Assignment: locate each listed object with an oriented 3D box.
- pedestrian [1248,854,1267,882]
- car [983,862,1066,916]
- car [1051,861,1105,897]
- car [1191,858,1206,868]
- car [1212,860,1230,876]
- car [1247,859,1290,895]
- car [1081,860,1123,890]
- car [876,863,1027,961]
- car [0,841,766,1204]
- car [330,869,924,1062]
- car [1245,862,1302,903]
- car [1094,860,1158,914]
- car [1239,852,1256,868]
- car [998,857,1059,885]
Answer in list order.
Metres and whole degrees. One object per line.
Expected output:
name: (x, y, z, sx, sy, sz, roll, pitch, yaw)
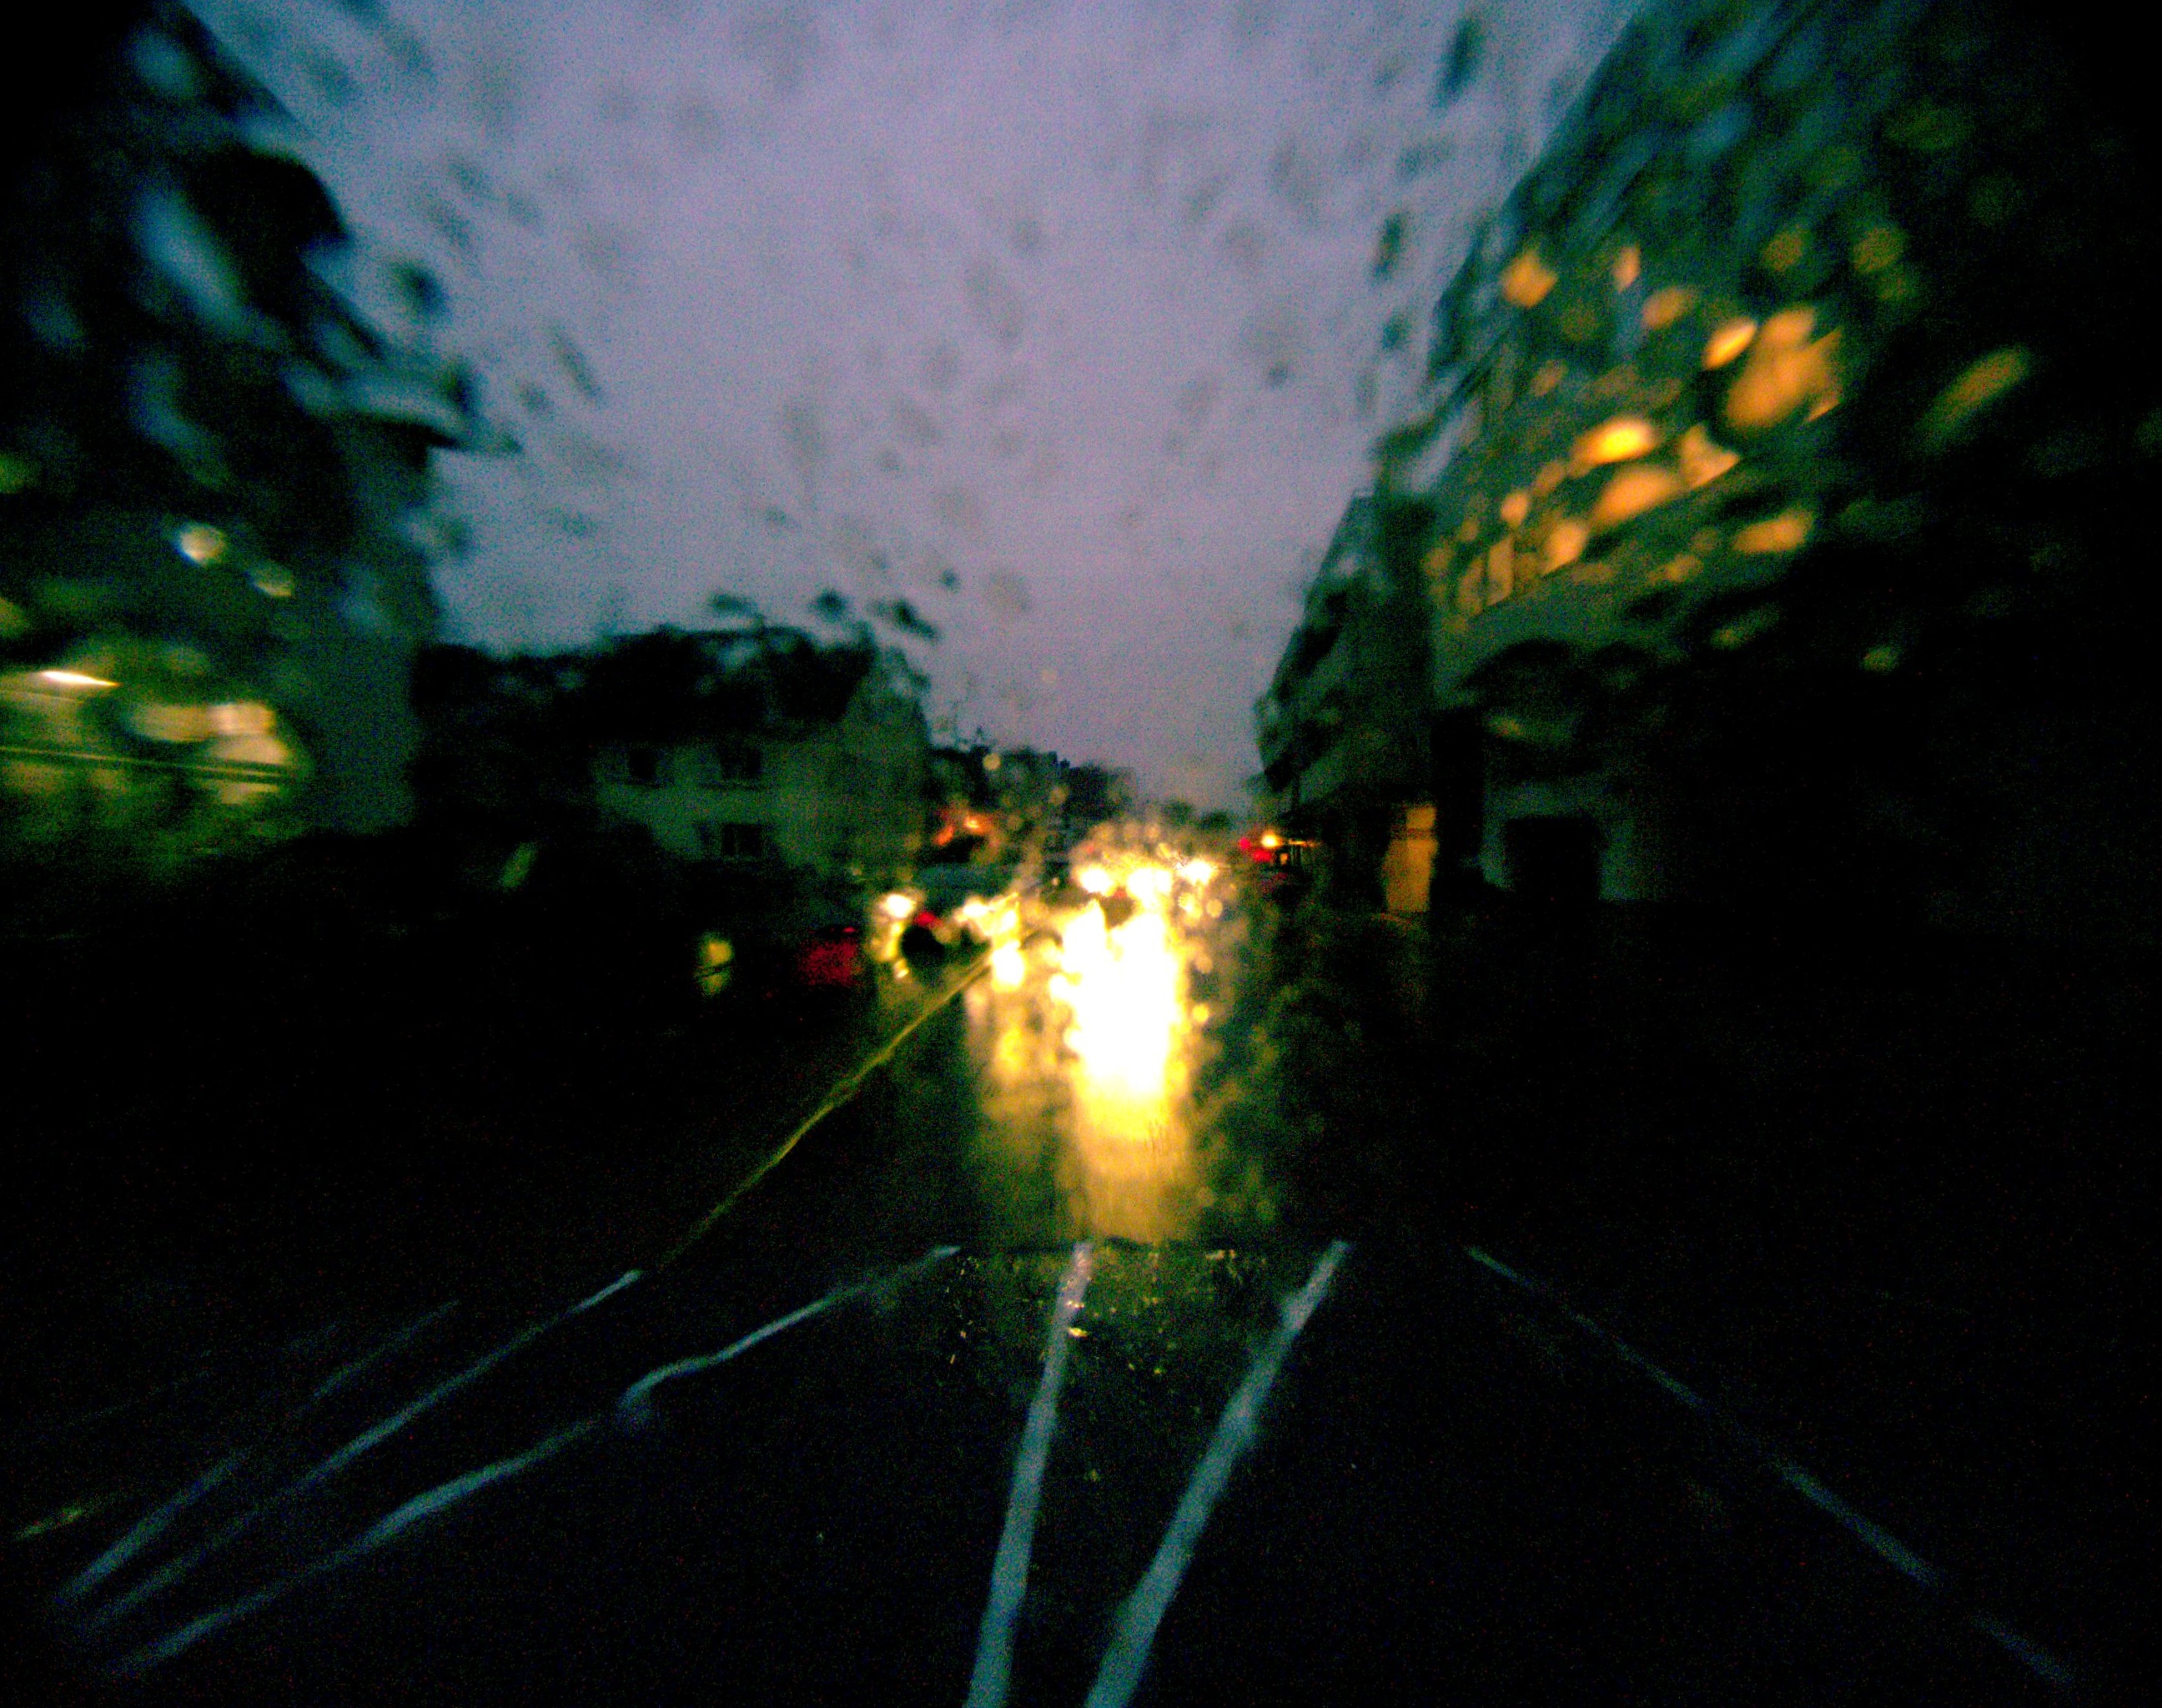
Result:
pedestrian: (12.162, 0.946, 52.252, 1.200, 1.927, 0.978, 1, 0, 16)
car: (-1.671, 1.023, 24.046, 1.798, 1.452, 4.532, 2, 0, 6)
car: (-0.057, 1.104, 35.034, 1.826, 1.415, 4.611, 2, 0, 7)
car: (18.816, 1.493, 121.517, 1.796, 1.501, 4.005, 2, 0, 17)
car: (14.890, 1.452, 80.877, 1.724, 1.604, 3.819, -2, -1, 10)
car: (8.774, 1.048, 35.855, 1.618, 1.523, 3.931, -1, 0, 9)
car: (1.203, 1.120, 41.321, 1.629, 1.433, 3.803, 2, 1, 11)
car: (-2.316, 0.990, 14.911, 1.886, 1.538, 4.672, 1, 0, 3)
car: (-3.971, 0.825, 4.458, 3.514, 1.671, 1.715, 2, 0, -5)
car: (-3.943, 0.947, 7.236, 4.478, 1.464, 1.898, 1, 0, -1)
car: (7.691, 1.103, 30.705, 1.678, 1.438, 4.430, -2, 0, 7)
car: (1.577, 1.012, 25.072, 1.877, 1.622, 4.002, 0, 0, 7)
car: (29.252, 1.040, 133.592, 2.043, 2.643, 4.218, -2, -1, 25)
car: (-3.112, 0.993, 45.689, 3.296, 1.433, 1.687, 3, 1, 7)
